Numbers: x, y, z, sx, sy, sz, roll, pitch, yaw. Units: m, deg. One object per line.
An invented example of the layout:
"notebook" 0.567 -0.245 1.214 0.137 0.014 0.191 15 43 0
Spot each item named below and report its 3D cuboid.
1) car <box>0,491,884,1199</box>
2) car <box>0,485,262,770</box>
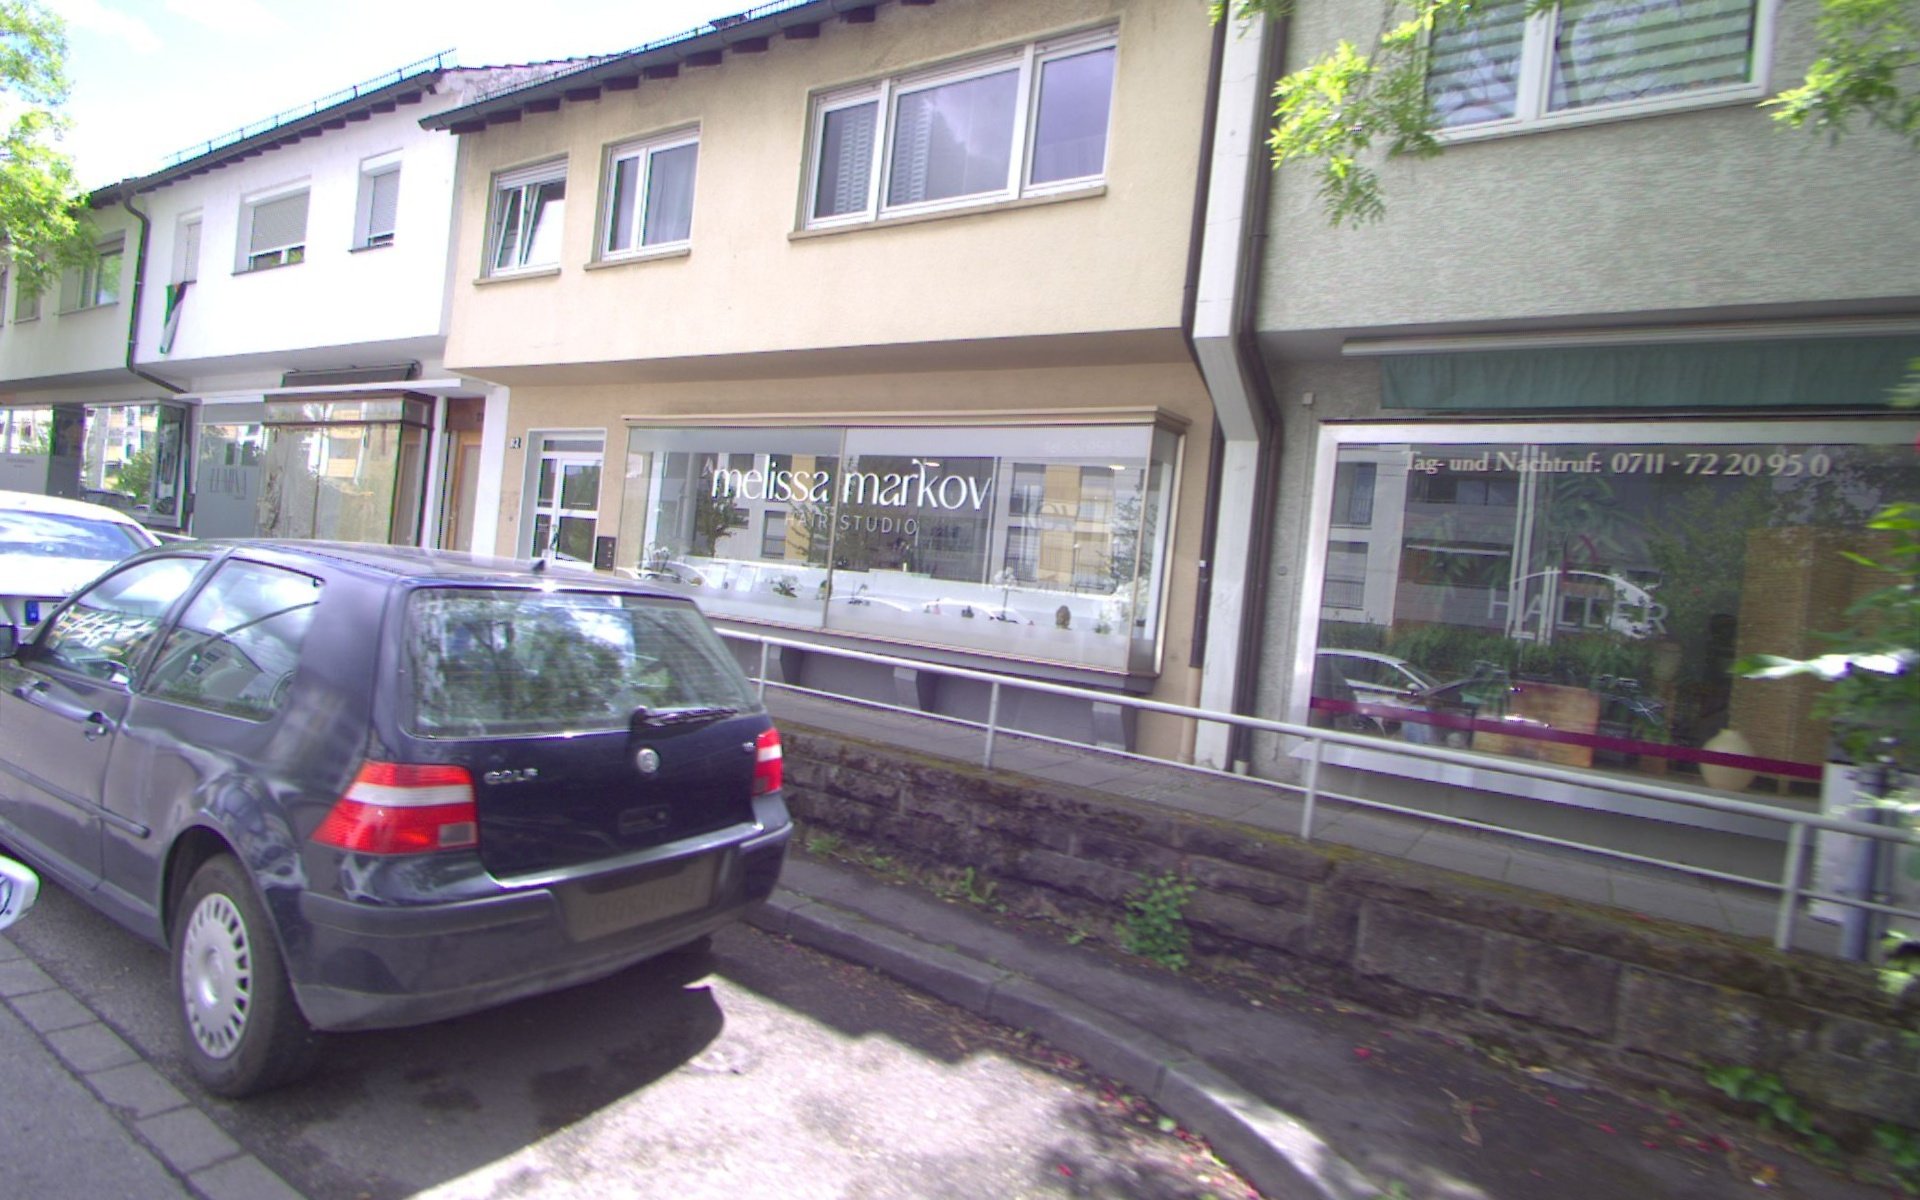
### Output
"car" -2.480 0.489 3.960 3.977 1.481 1.815 7 -1 35
"car" -6.939 -0.052 6.947 4.833 1.516 1.815 7 -1 35
